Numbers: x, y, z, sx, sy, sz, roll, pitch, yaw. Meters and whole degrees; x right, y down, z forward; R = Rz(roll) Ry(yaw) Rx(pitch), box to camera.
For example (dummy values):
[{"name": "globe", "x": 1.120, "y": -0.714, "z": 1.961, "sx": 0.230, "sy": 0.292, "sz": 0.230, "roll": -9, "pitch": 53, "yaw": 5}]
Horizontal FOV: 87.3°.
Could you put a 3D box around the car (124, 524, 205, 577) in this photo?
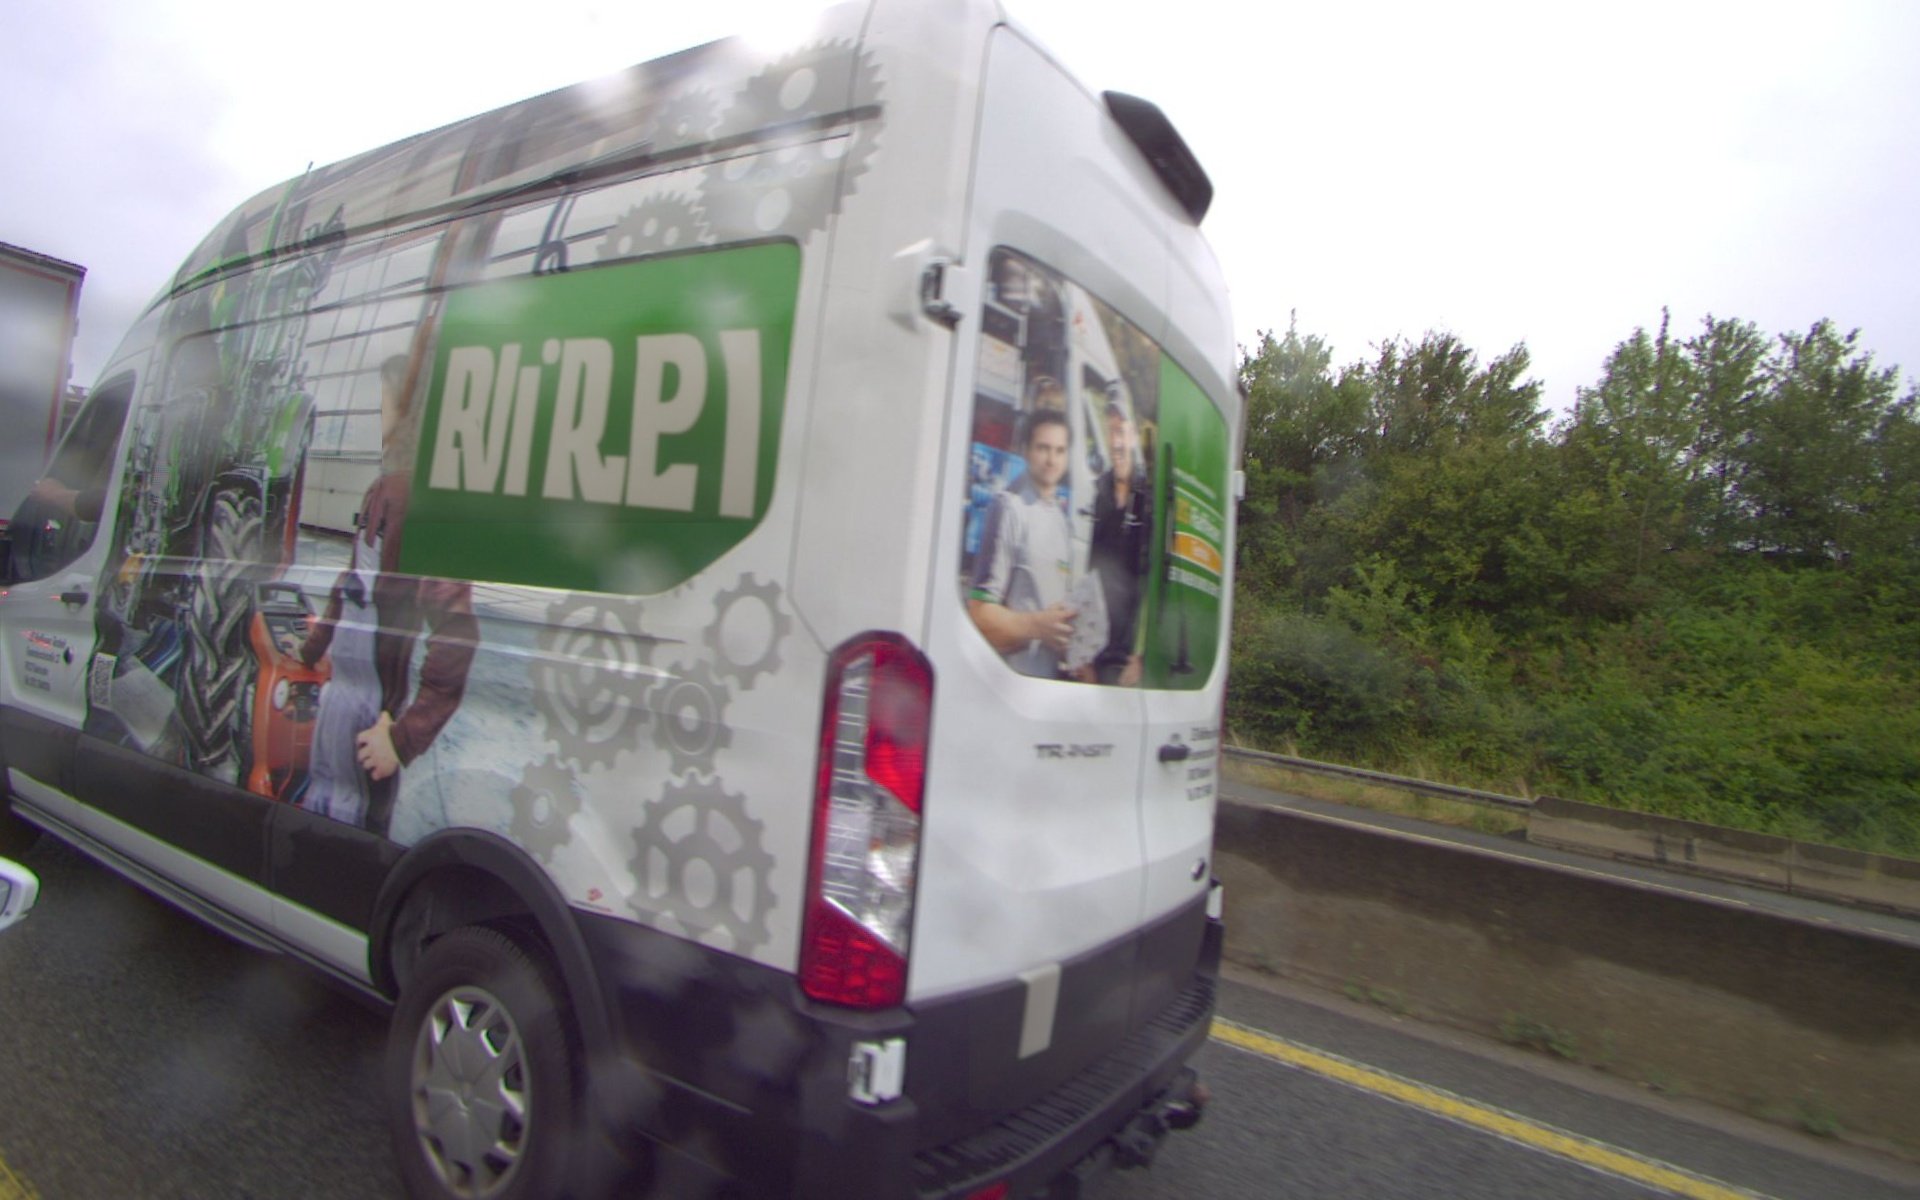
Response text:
[{"name": "car", "x": -38.538, "y": -2.399, "z": 48.714, "sx": 4.058, "sy": 2.082, "sz": 1.731, "roll": 6, "pitch": -1, "yaw": 34}]

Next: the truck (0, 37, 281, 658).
[{"name": "truck", "x": -17.492, "y": -3.299, "z": 15.231, "sx": 20.044, "sy": 5.739, "sz": 3.985, "roll": 6, "pitch": -1, "yaw": 33}]

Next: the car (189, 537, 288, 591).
[{"name": "car", "x": -32.202, "y": -1.616, "z": 44.863, "sx": 4.651, "sy": 1.850, "sz": 1.945, "roll": 6, "pitch": -2, "yaw": 34}]

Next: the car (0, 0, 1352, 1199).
[{"name": "car", "x": -1.969, "y": -0.120, "z": 3.970, "sx": 6.018, "sy": 2.707, "sz": 2.147, "roll": 6, "pitch": -1, "yaw": 33}]
